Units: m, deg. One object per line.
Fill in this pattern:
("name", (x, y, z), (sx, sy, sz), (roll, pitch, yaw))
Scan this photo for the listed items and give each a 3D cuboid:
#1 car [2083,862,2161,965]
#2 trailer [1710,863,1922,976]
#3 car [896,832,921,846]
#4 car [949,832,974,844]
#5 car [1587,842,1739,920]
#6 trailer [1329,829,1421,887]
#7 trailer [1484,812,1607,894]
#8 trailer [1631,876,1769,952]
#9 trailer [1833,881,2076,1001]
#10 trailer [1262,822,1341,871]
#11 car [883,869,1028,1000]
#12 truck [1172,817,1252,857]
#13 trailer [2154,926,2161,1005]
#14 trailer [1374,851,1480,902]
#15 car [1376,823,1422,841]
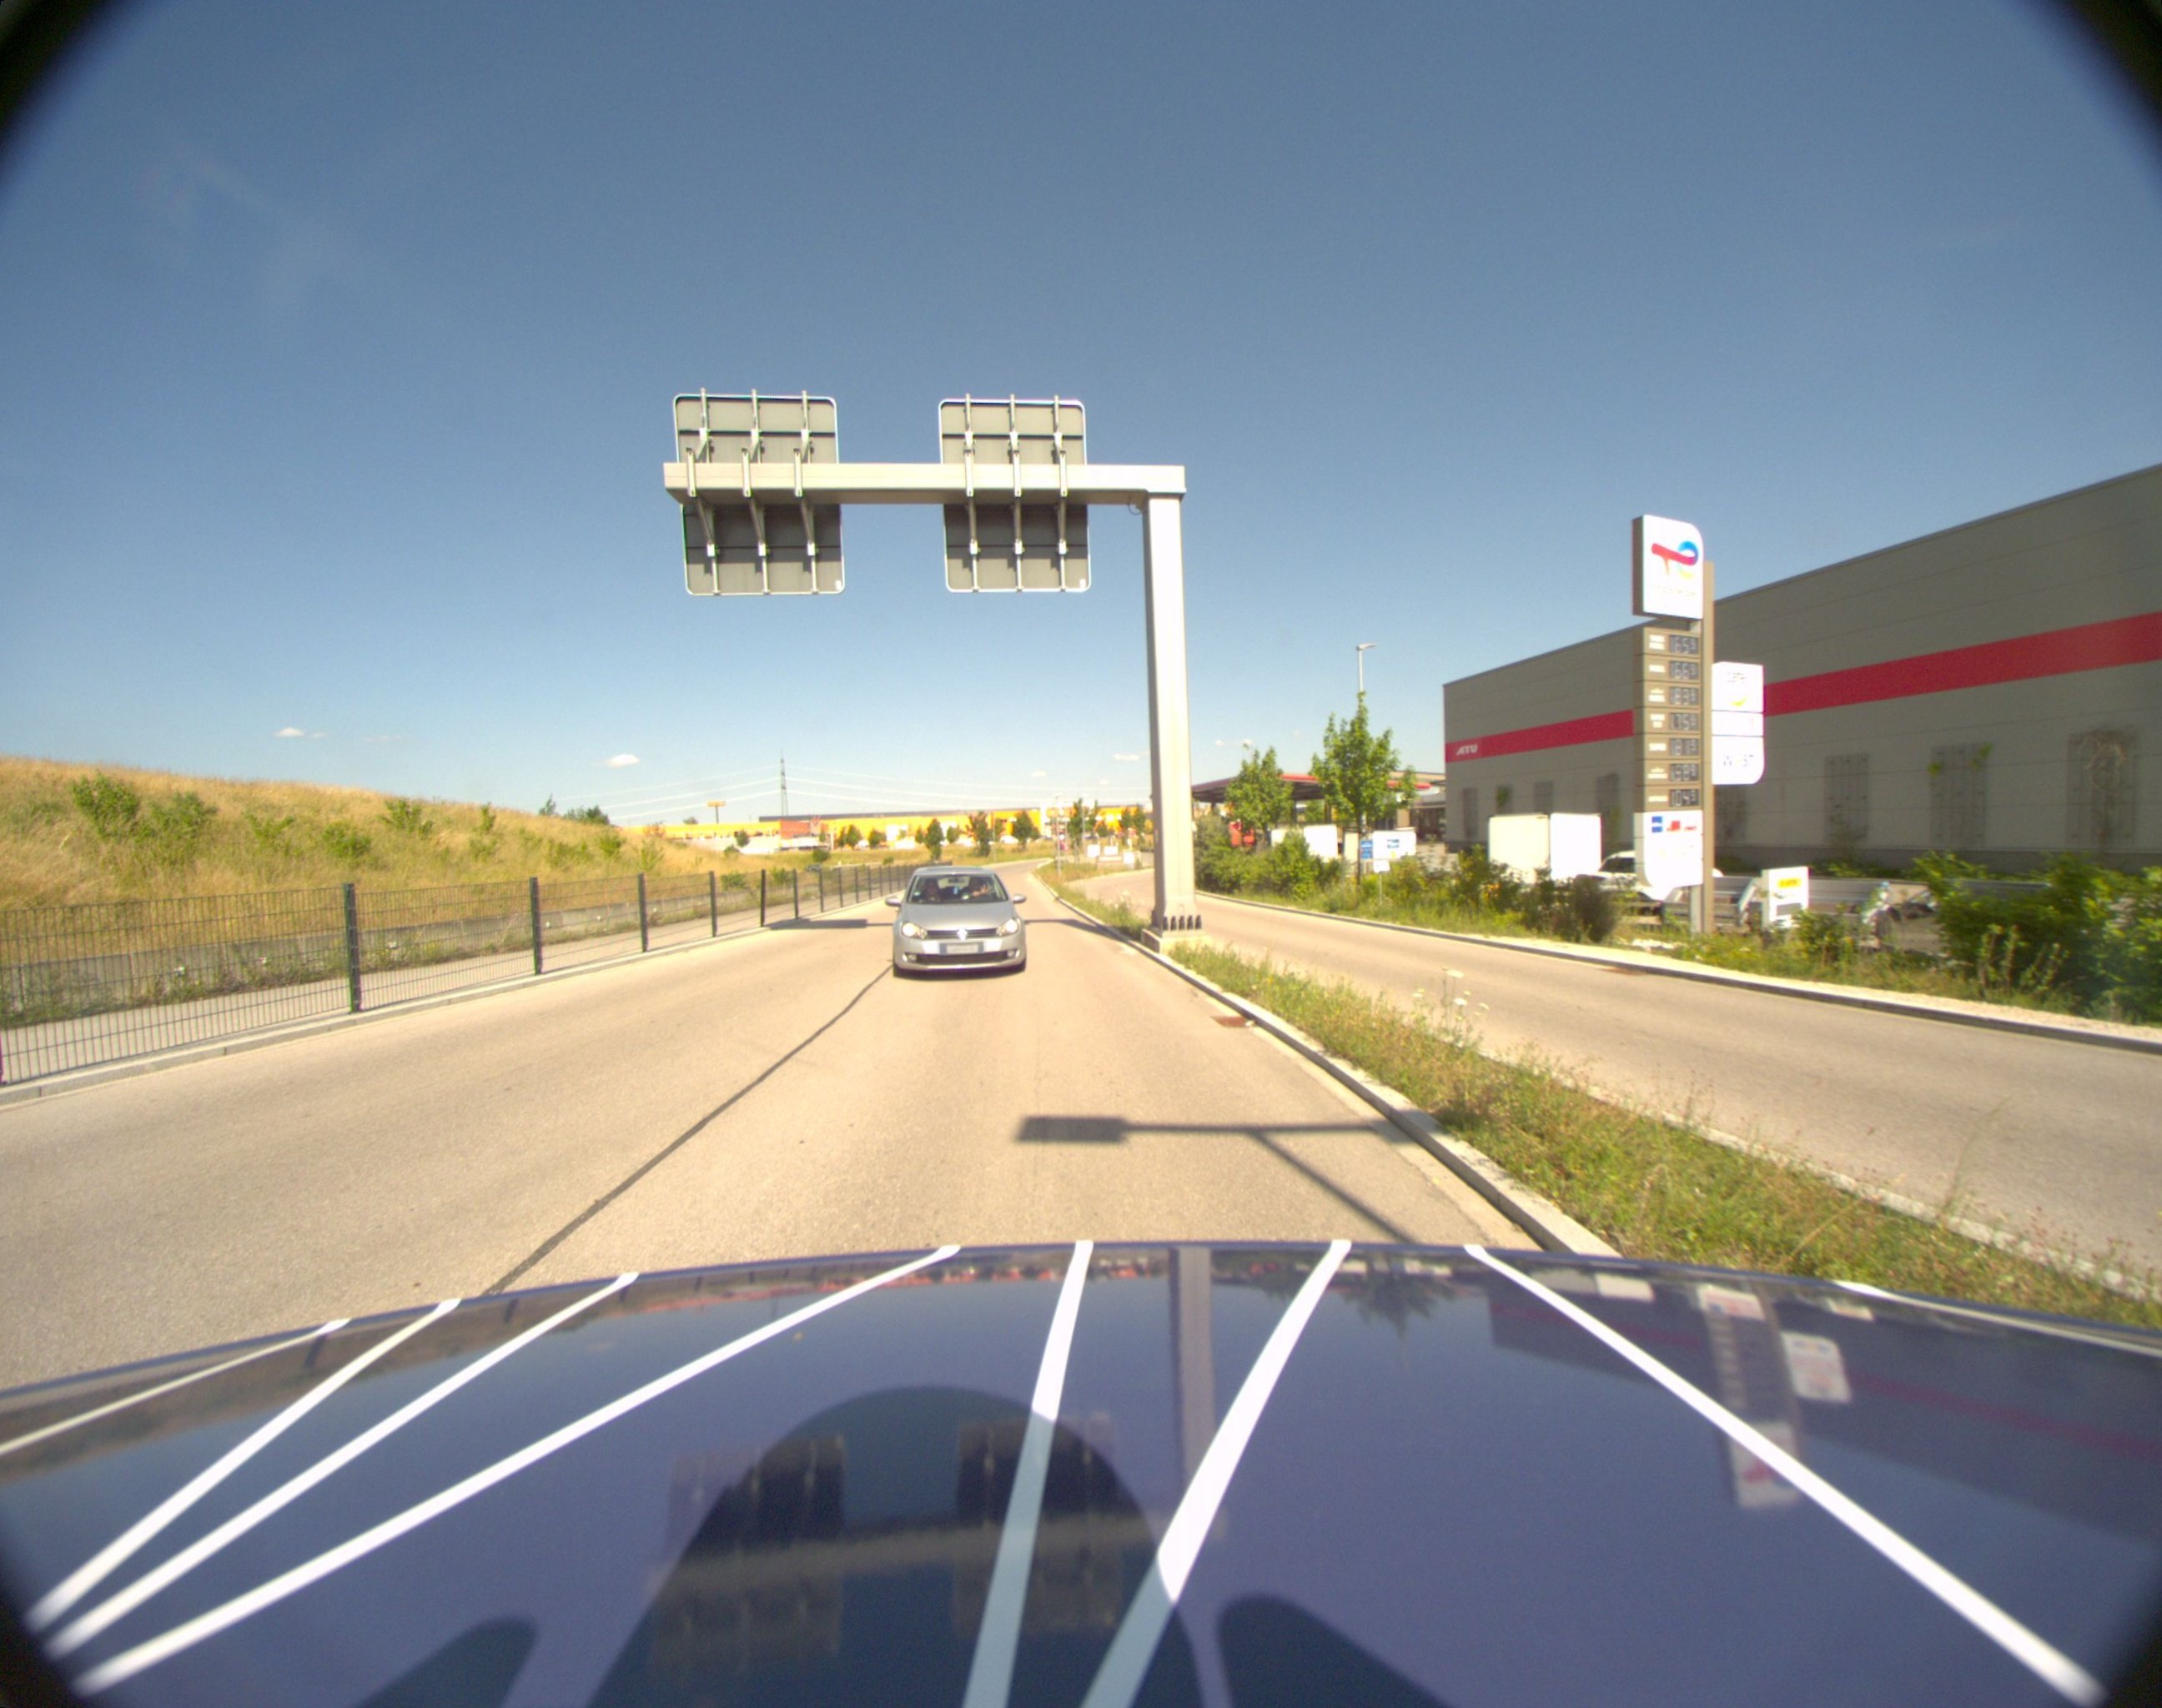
("car", (17.291, 0.907, 10.112), (1.803, 1.475, 4.494), (-3, 1, -5))
("trailer", (12.233, 0.986, 12.641), (3.195, 1.475, 1.545), (-3, 1, -27))
("car", (-33.890, -3.009, 149.335), (4.637, 2.534, 1.998), (-3, 1, -10))
("car", (-23.730, -3.149, 150.715), (4.637, 2.002, 1.998), (-3, 1, -10))
("car", (13.948, 0.573, 18.147), (4.006, 1.527, 1.715), (-4, 2, -35))
("trailer", (11.175, 0.115, 28.897), (2.741, 2.002, 1.995), (-4, 2, -33))
("trailer", (12.690, -0.070, 20.714), (3.245, 2.002, 1.743), (-4, 2, -37))
("trailer", (11.612, 1.059, 14.224), (2.780, 1.079, 1.317), (-4, 2, -36))
("trailer", (12.520, 1.152, 10.901), (2.914, 1.314, 1.387), (-3, 1, -21))
("trailer", (9.897, -0.351, 34.037), (3.212, 2.002, 1.994), (-4, 2, -45))
("car", (-1.848, 1.009, 11.273), (1.748, 1.459, 3.956), (0, 1, -9))
("truck", (11.856, -1.545, 68.649), (6.915, 3.299, 2.635), (-3, 2, -31))
("trailer", (13.580, 1.434, 8.386), (2.842, 0.877, 1.861), (-4, 1, -38))
("trailer", (12.015, 0.749, 26.346), (3.605, 1.501, 1.596), (-4, 1, -33))
("car", (30.520, -2.089, 73.021), (3.683, 1.565, 1.695), (-3, 1, 0))
